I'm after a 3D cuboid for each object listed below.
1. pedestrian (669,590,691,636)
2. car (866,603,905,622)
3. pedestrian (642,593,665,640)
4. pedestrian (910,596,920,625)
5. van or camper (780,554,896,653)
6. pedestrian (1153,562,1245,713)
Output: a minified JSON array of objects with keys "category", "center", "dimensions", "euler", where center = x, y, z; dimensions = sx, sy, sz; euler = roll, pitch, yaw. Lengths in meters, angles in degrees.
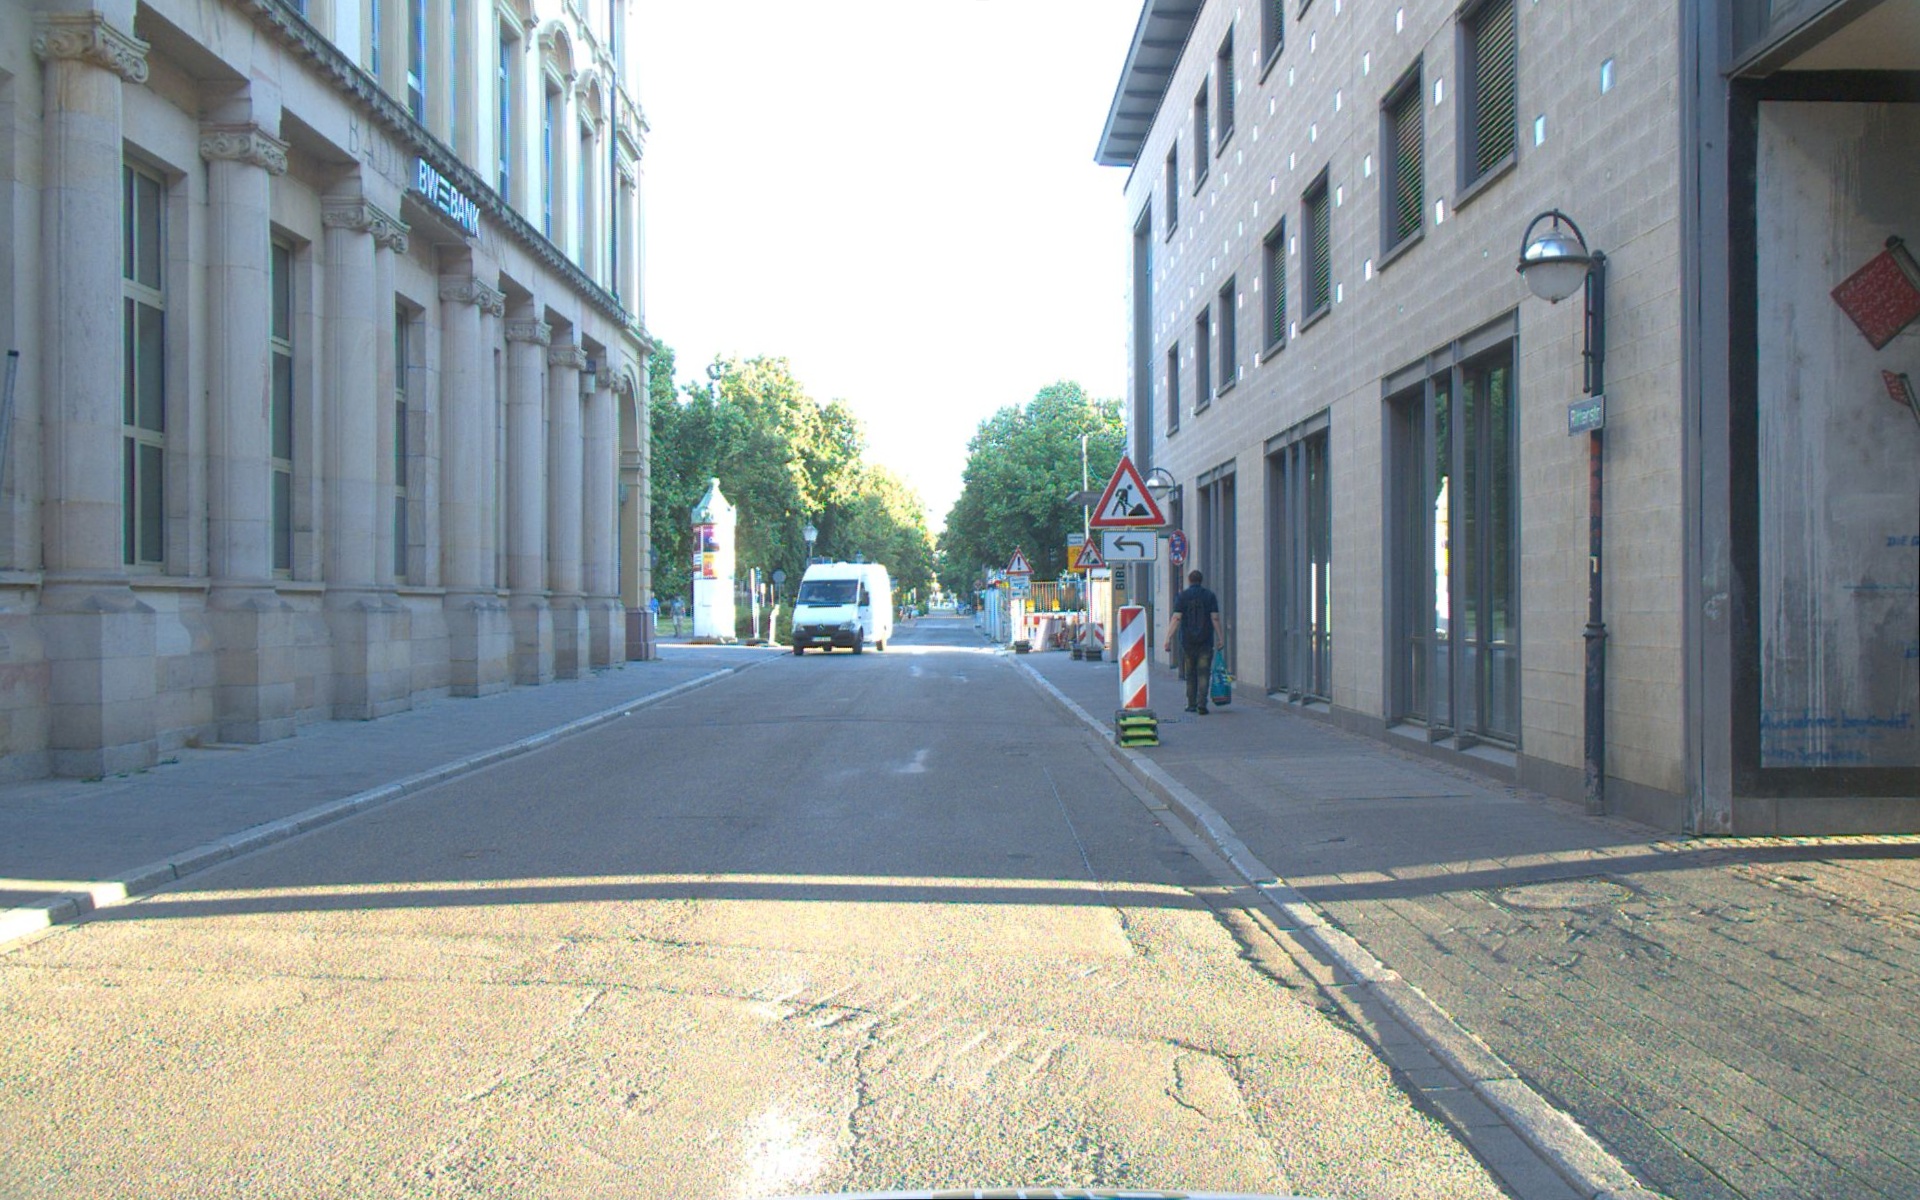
[{"category":"pedestrian","center":[-11.128,0.506,65.709],"dimensions":[0.835,1.839,0.661],"euler":[0,0,-14]},{"category":"car","center":[-7.270,1.218,160.829],"dimensions":[3.486,1.814,1.791],"euler":[-1,-1,9]},{"category":"pedestrian","center":[-12.154,0.651,65.554],"dimensions":[0.835,1.839,0.661],"euler":[0,0,-14]},{"category":"pedestrian","center":[-3.104,0.739,114.945],"dimensions":[0.598,2.049,0.903],"euler":[0,0,-9]},{"category":"van or camper","center":[-3.382,0.086,47.400],"dimensions":[2.172,2.630,6.376],"euler":[0,0,6]},{"category":"pedestrian","center":[3.008,0.469,20.901],"dimensions":[0.980,1.835,0.881],"euler":[-2,-1,-1]}]
